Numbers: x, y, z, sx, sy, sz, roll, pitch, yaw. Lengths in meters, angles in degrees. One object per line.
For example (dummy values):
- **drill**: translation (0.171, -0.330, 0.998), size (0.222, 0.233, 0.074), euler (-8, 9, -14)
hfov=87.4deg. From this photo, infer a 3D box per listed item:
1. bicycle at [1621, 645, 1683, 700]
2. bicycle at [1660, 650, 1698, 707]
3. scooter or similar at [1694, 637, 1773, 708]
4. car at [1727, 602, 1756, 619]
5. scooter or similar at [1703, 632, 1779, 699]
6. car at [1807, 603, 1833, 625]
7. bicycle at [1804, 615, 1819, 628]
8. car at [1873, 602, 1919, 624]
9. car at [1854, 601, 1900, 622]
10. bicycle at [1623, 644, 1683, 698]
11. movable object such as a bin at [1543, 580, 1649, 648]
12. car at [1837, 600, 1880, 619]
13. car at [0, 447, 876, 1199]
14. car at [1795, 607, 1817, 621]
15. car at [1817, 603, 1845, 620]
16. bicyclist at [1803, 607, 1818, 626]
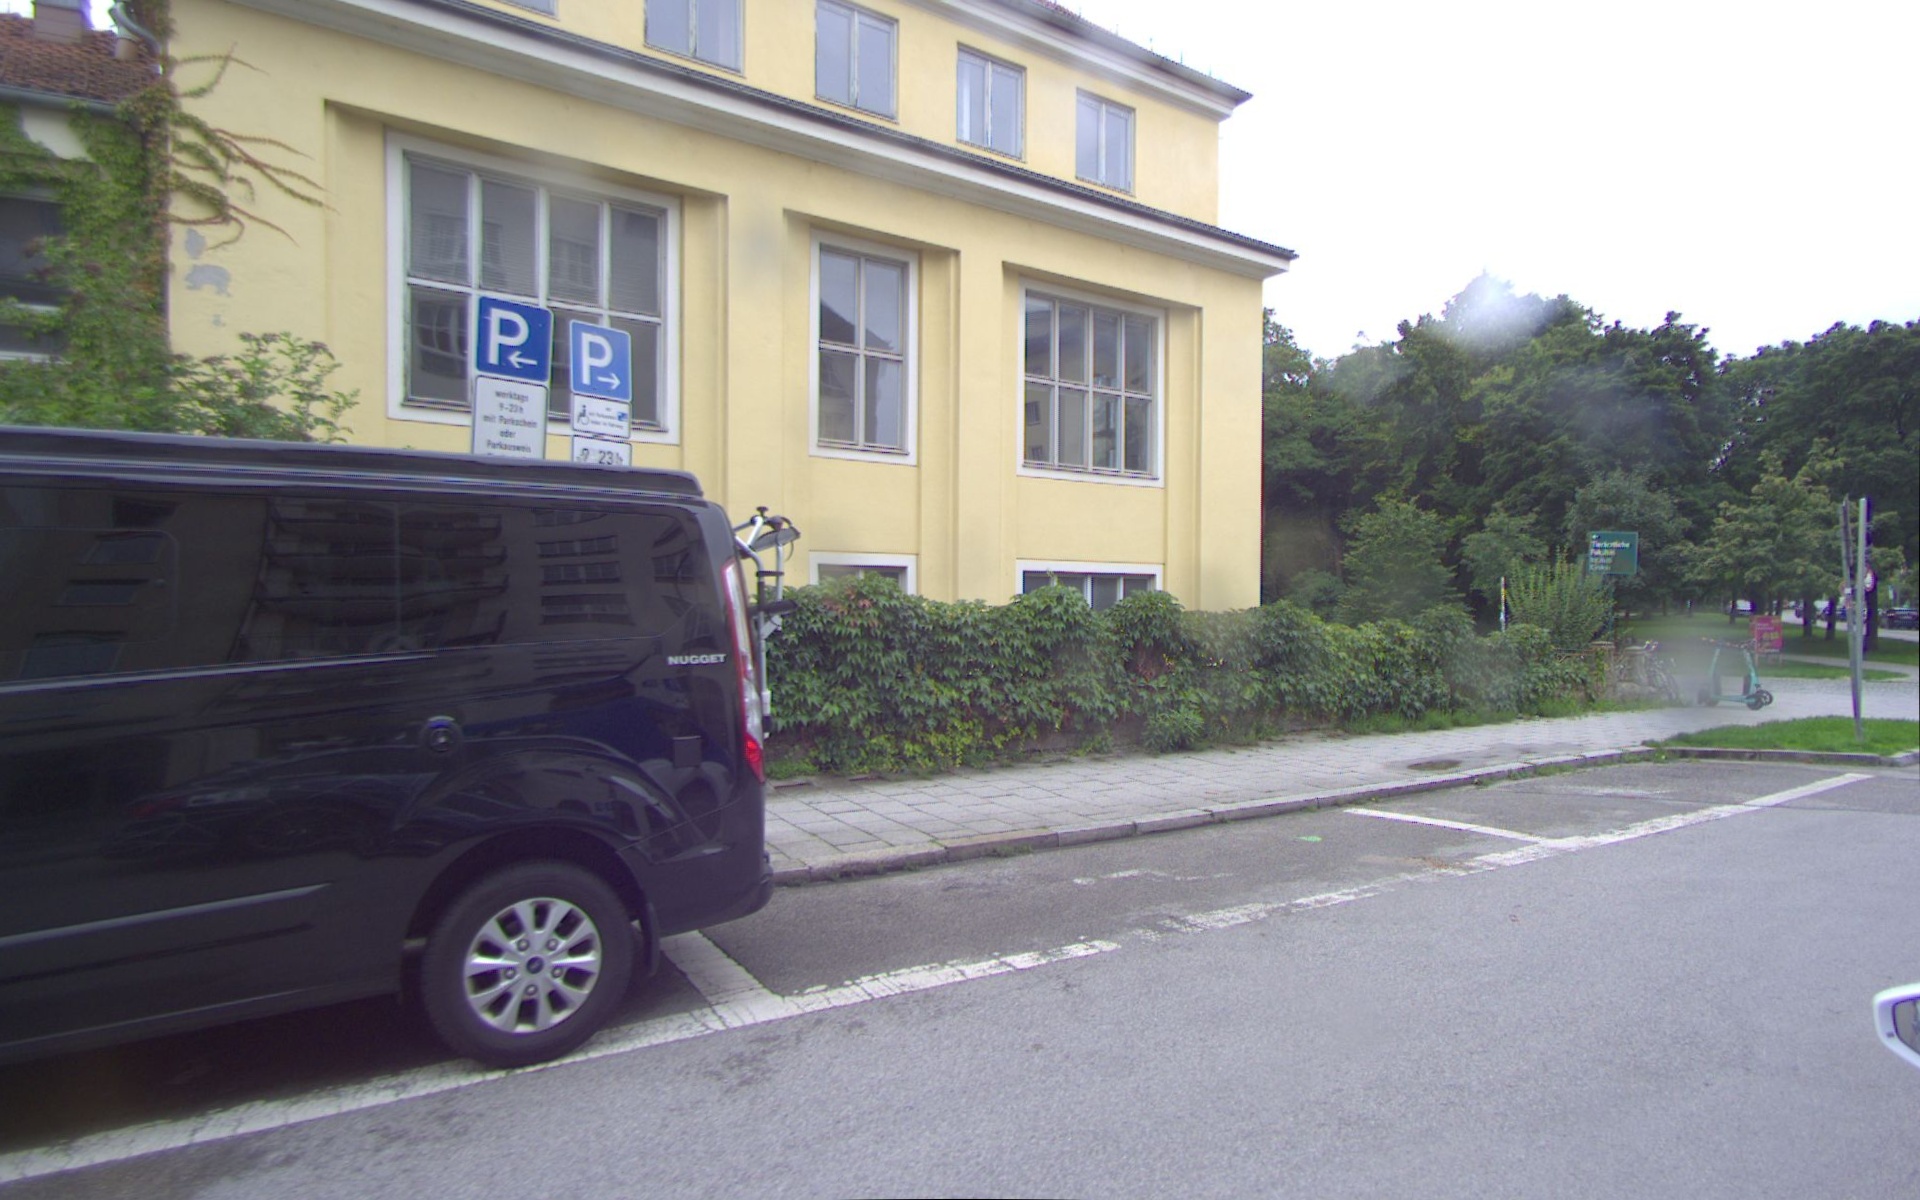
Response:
- **bicycle**: translation (13.846, 1.435, 20.140), size (0.295, 1.003, 1.585), euler (0, -1, 6)
- **bicycle**: translation (13.342, 1.435, 18.631), size (0.535, 0.987, 1.150), euler (0, 0, 37)
- **scooter or similar**: translation (14.053, 1.294, 18.278), size (0.340, 1.204, 1.113), euler (0, 0, -22)
- **car**: translation (80.228, 1.096, 103.128), size (1.966, 1.713, 3.990), euler (0, -1, 32)
- **scooter or similar**: translation (14.634, 1.223, 18.822), size (1.096, 1.204, 0.345), euler (1, 1, 5)
- **car**: translation (91.237, 1.487, 106.607), size (1.970, 2.188, 3.981), euler (0, -1, 40)
- **bicycle**: translation (66.019, 1.678, 77.900), size (0.630, 0.981, 1.990), euler (1, 0, 32)
- **car**: translation (71.648, 1.007, 76.800), size (1.964, 1.627, 3.992), euler (0, -1, 30)
- **car**: translation (74.499, 0.912, 81.657), size (1.964, 1.627, 3.992), euler (0, -1, 30)
- **bicycle**: translation (14.204, 1.436, 20.627), size (0.295, 1.003, 1.585), euler (0, -1, 6)
- **movable object such as a bin**: translation (31.085, 0.697, 49.203), size (3.920, 3.256, 2.001), euler (0, -1, 2)
- **car**: translation (77.337, 0.818, 86.528), size (1.964, 1.627, 3.992), euler (0, -1, 30)
- **car**: translation (-3.116, 0.624, 3.514), size (5.286, 1.990, 2.064), euler (1, -2, -30)
- **car**: translation (97.738, 1.625, 116.080), size (1.970, 1.627, 3.981), euler (0, -1, 40)
- **car**: translation (85.925, 1.116, 99.127), size (1.970, 1.627, 3.981), euler (0, -1, 40)
- **bicyclist**: translation (66.006, 1.283, 77.951), size (0.784, 1.490, 0.891), euler (1, 1, 33)
